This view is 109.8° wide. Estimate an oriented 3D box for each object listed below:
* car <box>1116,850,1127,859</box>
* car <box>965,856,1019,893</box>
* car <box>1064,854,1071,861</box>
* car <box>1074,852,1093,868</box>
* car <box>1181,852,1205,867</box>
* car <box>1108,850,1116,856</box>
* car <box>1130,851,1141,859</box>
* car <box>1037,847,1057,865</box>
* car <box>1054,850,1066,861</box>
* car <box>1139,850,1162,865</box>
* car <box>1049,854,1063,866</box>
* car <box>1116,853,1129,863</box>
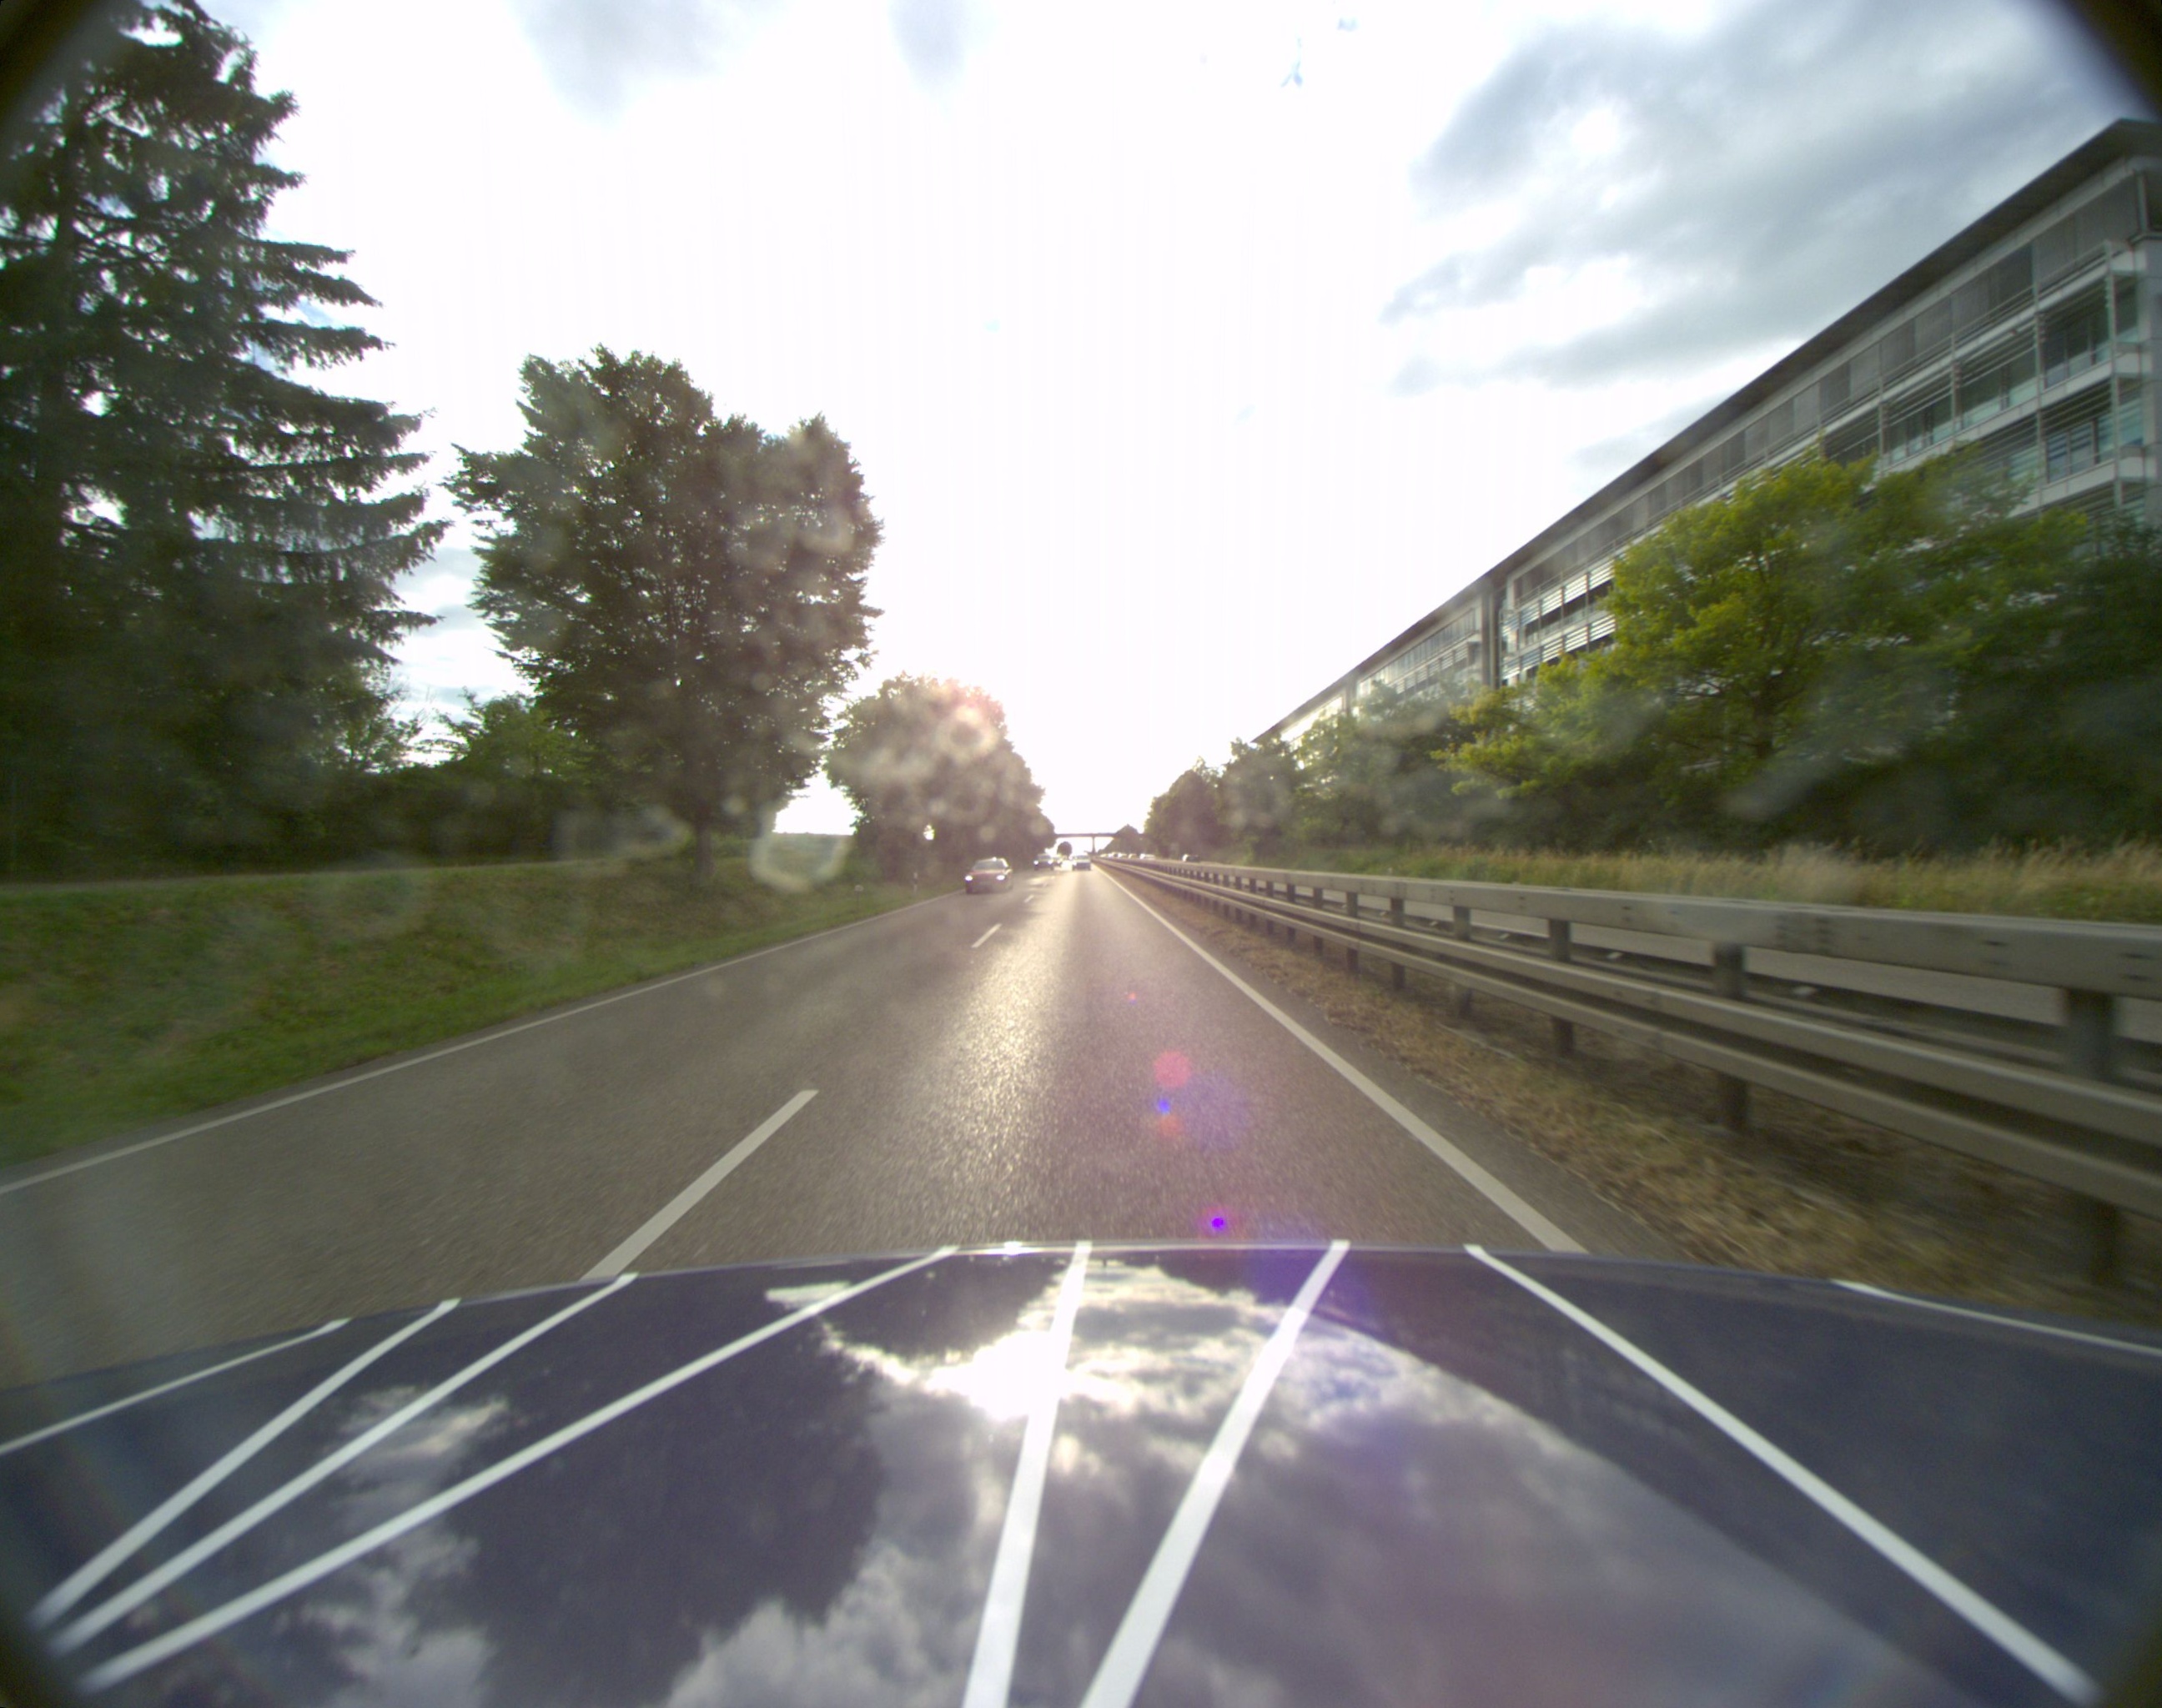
[{"bbox_3d":[7.402,0.024,137.981,1.747,1.635,5.279,-1,0,0],"label":"car"},{"bbox_3d":[-3.772,0.848,32.761,1.723,1.467,3.729,-1,0,2],"label":"car"},{"bbox_3d":[-4.058,1.023,234.339,1.998,2.002,4.000,-2,0,0],"label":"car"},{"bbox_3d":[0.281,0.588,72.972,1.723,1.493,4.419,-2,-1,1],"label":"car"},{"bbox_3d":[10.643,0.488,72.440,1.761,1.414,4.566,0,0,1],"label":"car"},{"bbox_3d":[7.650,-0.281,190.798,1.825,1.575,4.315,-1,0,0],"label":"car"},{"bbox_3d":[10.710,0.247,150.429,1.822,1.476,4.417,0,0,-1],"label":"car"},{"bbox_3d":[-3.379,0.208,76.961,1.723,1.657,4.419,-2,-1,0],"label":"car"},{"bbox_3d":[-3.422,0.268,124.774,1.723,1.657,4.419,-2,-1,0],"label":"car"},{"bbox_3d":[6.807,0.314,74.821,1.839,1.370,4.566,1,0,0],"label":"car"},{"bbox_3d":[-3.055,0.732,93.580,1.558,1.346,3.407,-1,0,0],"label":"car"},{"bbox_3d":[6.407,0.550,118.215,1.747,1.449,4.311,1,1,-1],"label":"car"}]
